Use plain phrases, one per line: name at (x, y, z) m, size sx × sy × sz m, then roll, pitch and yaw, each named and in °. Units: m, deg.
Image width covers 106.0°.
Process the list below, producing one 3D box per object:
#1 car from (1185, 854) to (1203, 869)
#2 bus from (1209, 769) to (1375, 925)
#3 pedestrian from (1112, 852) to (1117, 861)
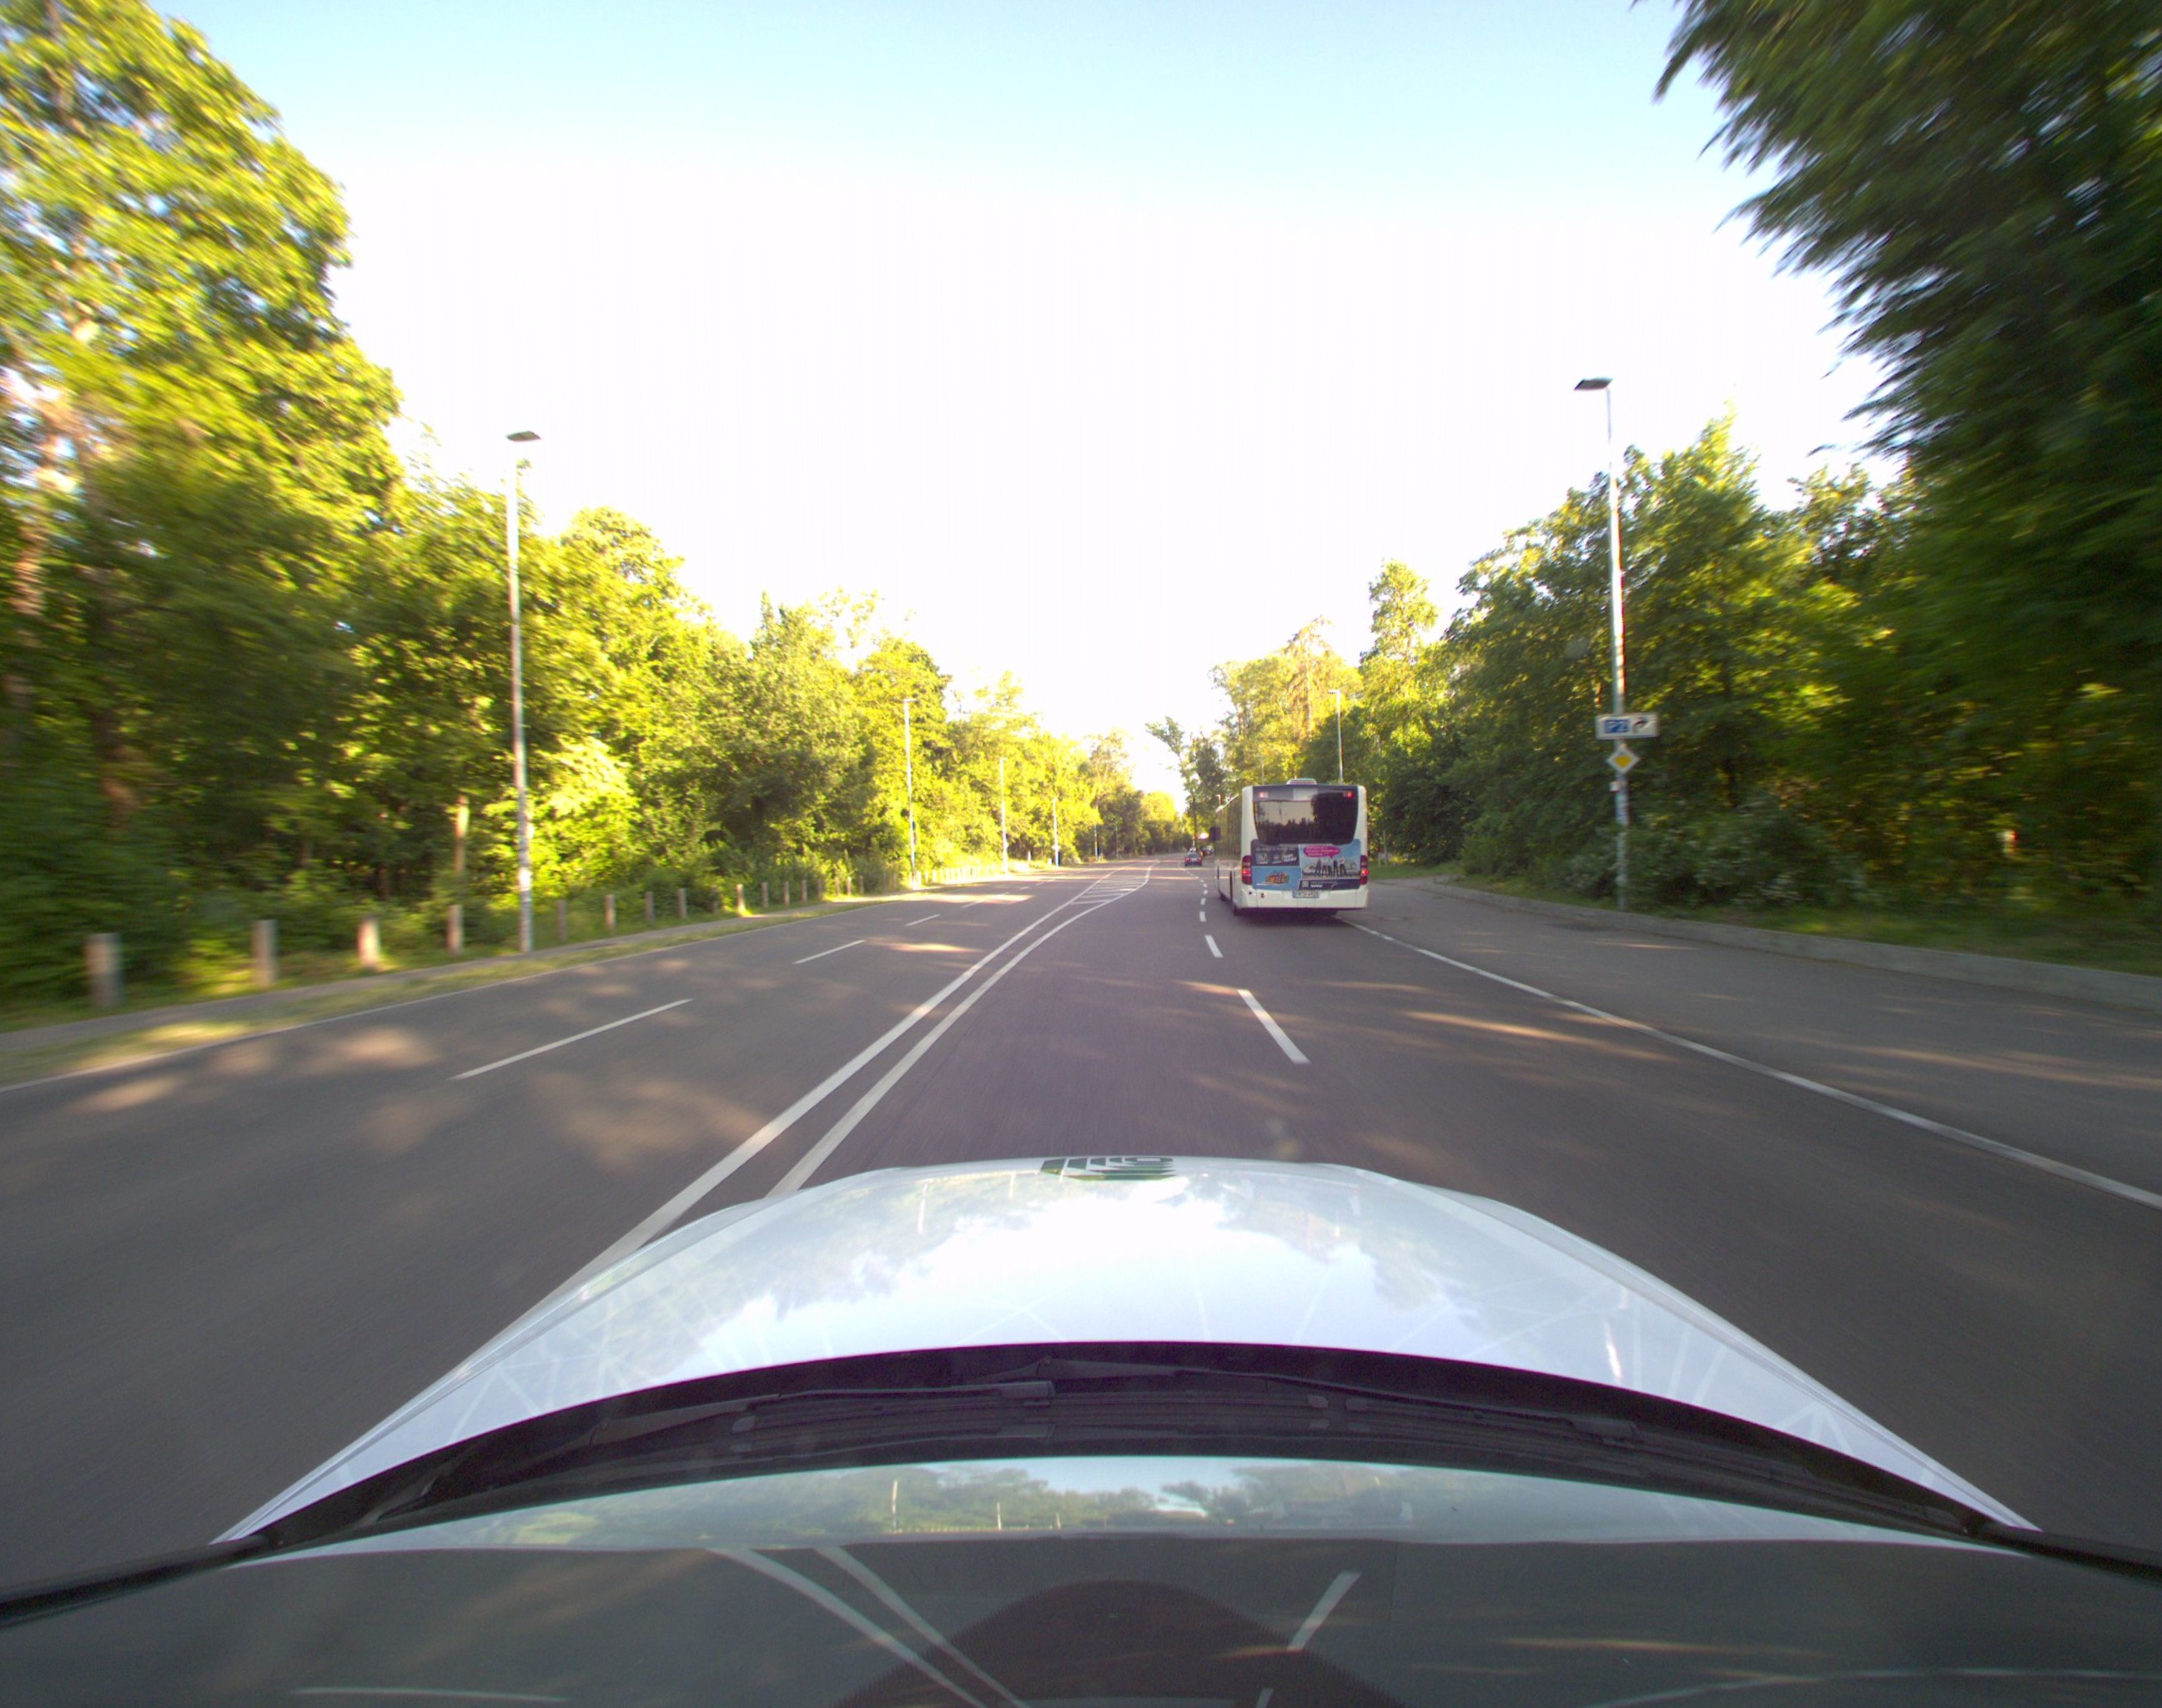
car at (11.881, 0.795, 85.443) m, size 1.621 × 1.547 × 4.144 m, roll -1°, pitch 0°, yaw 10°
bus at (5.099, -0.100, 22.130) m, size 2.676 × 3.042 × 12.062 m, roll -1°, pitch 0°, yaw 6°
pedestrian at (6.694, 0.570, 163.047) m, size 0.775 × 1.812 × 0.771 m, roll -1°, pitch 0°, yaw 6°
